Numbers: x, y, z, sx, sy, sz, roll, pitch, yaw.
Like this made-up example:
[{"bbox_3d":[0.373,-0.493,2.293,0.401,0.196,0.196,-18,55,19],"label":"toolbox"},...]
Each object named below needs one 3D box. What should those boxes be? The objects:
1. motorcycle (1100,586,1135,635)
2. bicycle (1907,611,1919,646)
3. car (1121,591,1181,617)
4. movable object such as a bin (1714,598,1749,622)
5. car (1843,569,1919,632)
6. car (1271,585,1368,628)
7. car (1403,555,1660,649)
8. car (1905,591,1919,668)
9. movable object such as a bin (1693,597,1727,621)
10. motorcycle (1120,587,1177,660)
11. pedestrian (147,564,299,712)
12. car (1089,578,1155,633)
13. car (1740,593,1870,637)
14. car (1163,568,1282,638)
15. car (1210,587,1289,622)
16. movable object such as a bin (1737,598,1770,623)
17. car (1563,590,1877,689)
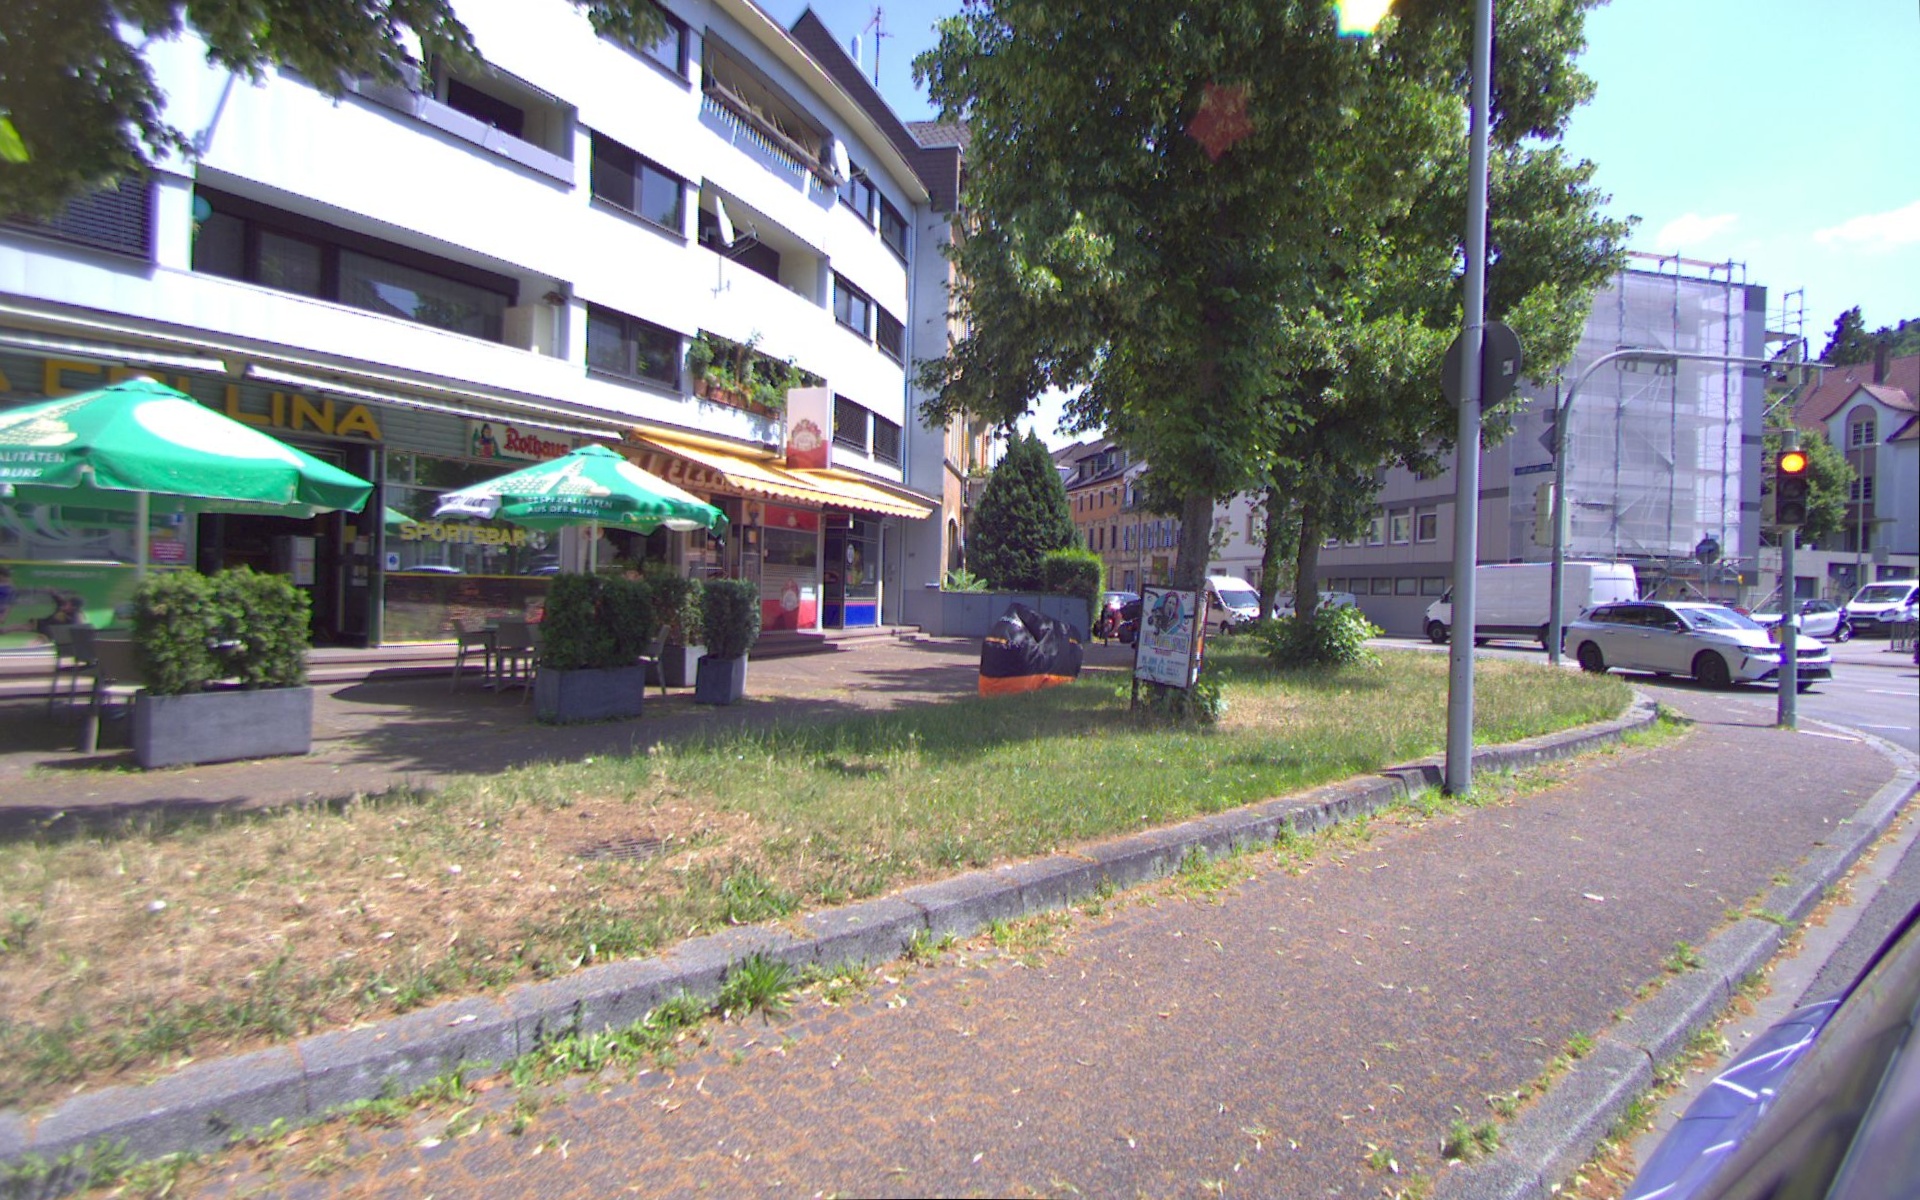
[{"bbox_3d":[4.469,0.295,28.797,0.917,1.319,2.275,2,-1,8],"label":"motorcycle"},{"bbox_3d":[27.238,0.805,27.877,0.390,0.979,1.722,0,1,-18],"label":"bicycle"},{"bbox_3d":[12.451,0.261,66.255,1.831,1.424,4.849,5,0,-16],"label":"car"},{"bbox_3d":[30.376,0.386,39.839,0.725,0.938,0.828,0,0,-12],"label":"movable object such as a bin"},{"bbox_3d":[34.721,-0.033,36.538,4.908,2.038,2.004,-3,1,-18],"label":"car"},{"bbox_3d":[16.870,0.250,47.779,1.879,1.848,4.799,2,0,-15],"label":"car"},{"bbox_3d":[17.293,-0.097,31.379,2.176,2.531,7.572,-1,2,-16],"label":"car"},{"bbox_3d":[20.918,0.625,19.001,1.819,1.577,4.295,0,1,-16],"label":"car"},{"bbox_3d":[30.263,0.360,40.833,0.725,0.938,0.828,0,0,-12],"label":"movable object such as a bin"},{"bbox_3d":[3.693,0.411,19.651,0.905,1.329,2.214,0,1,16],"label":"motorcycle"},{"bbox_3d":[-7.068,0.329,9.718,0.811,1.322,1.003,1,0,39],"label":"pedestrian"},{"bbox_3d":[5.143,0.201,32.650,1.809,1.568,5.145,2,-1,7],"label":"car"},{"bbox_3d":[29.448,0.488,35.295,3.661,1.465,1.762,-1,0,-17],"label":"car"},{"bbox_3d":[9.264,0.062,36.293,1.867,2.303,5.682,1,1,-10],"label":"car"},{"bbox_3d":[15.251,0.204,53.638,1.851,1.661,4.673,2,0,-15],"label":"car"},{"bbox_3d":[30.579,0.404,39.007,0.725,0.938,0.705,0,0,-12],"label":"movable object such as a bin"},{"bbox_3d":[13.379,0.614,18.254,1.867,1.516,4.494,1,1,-8],"label":"car"}]
